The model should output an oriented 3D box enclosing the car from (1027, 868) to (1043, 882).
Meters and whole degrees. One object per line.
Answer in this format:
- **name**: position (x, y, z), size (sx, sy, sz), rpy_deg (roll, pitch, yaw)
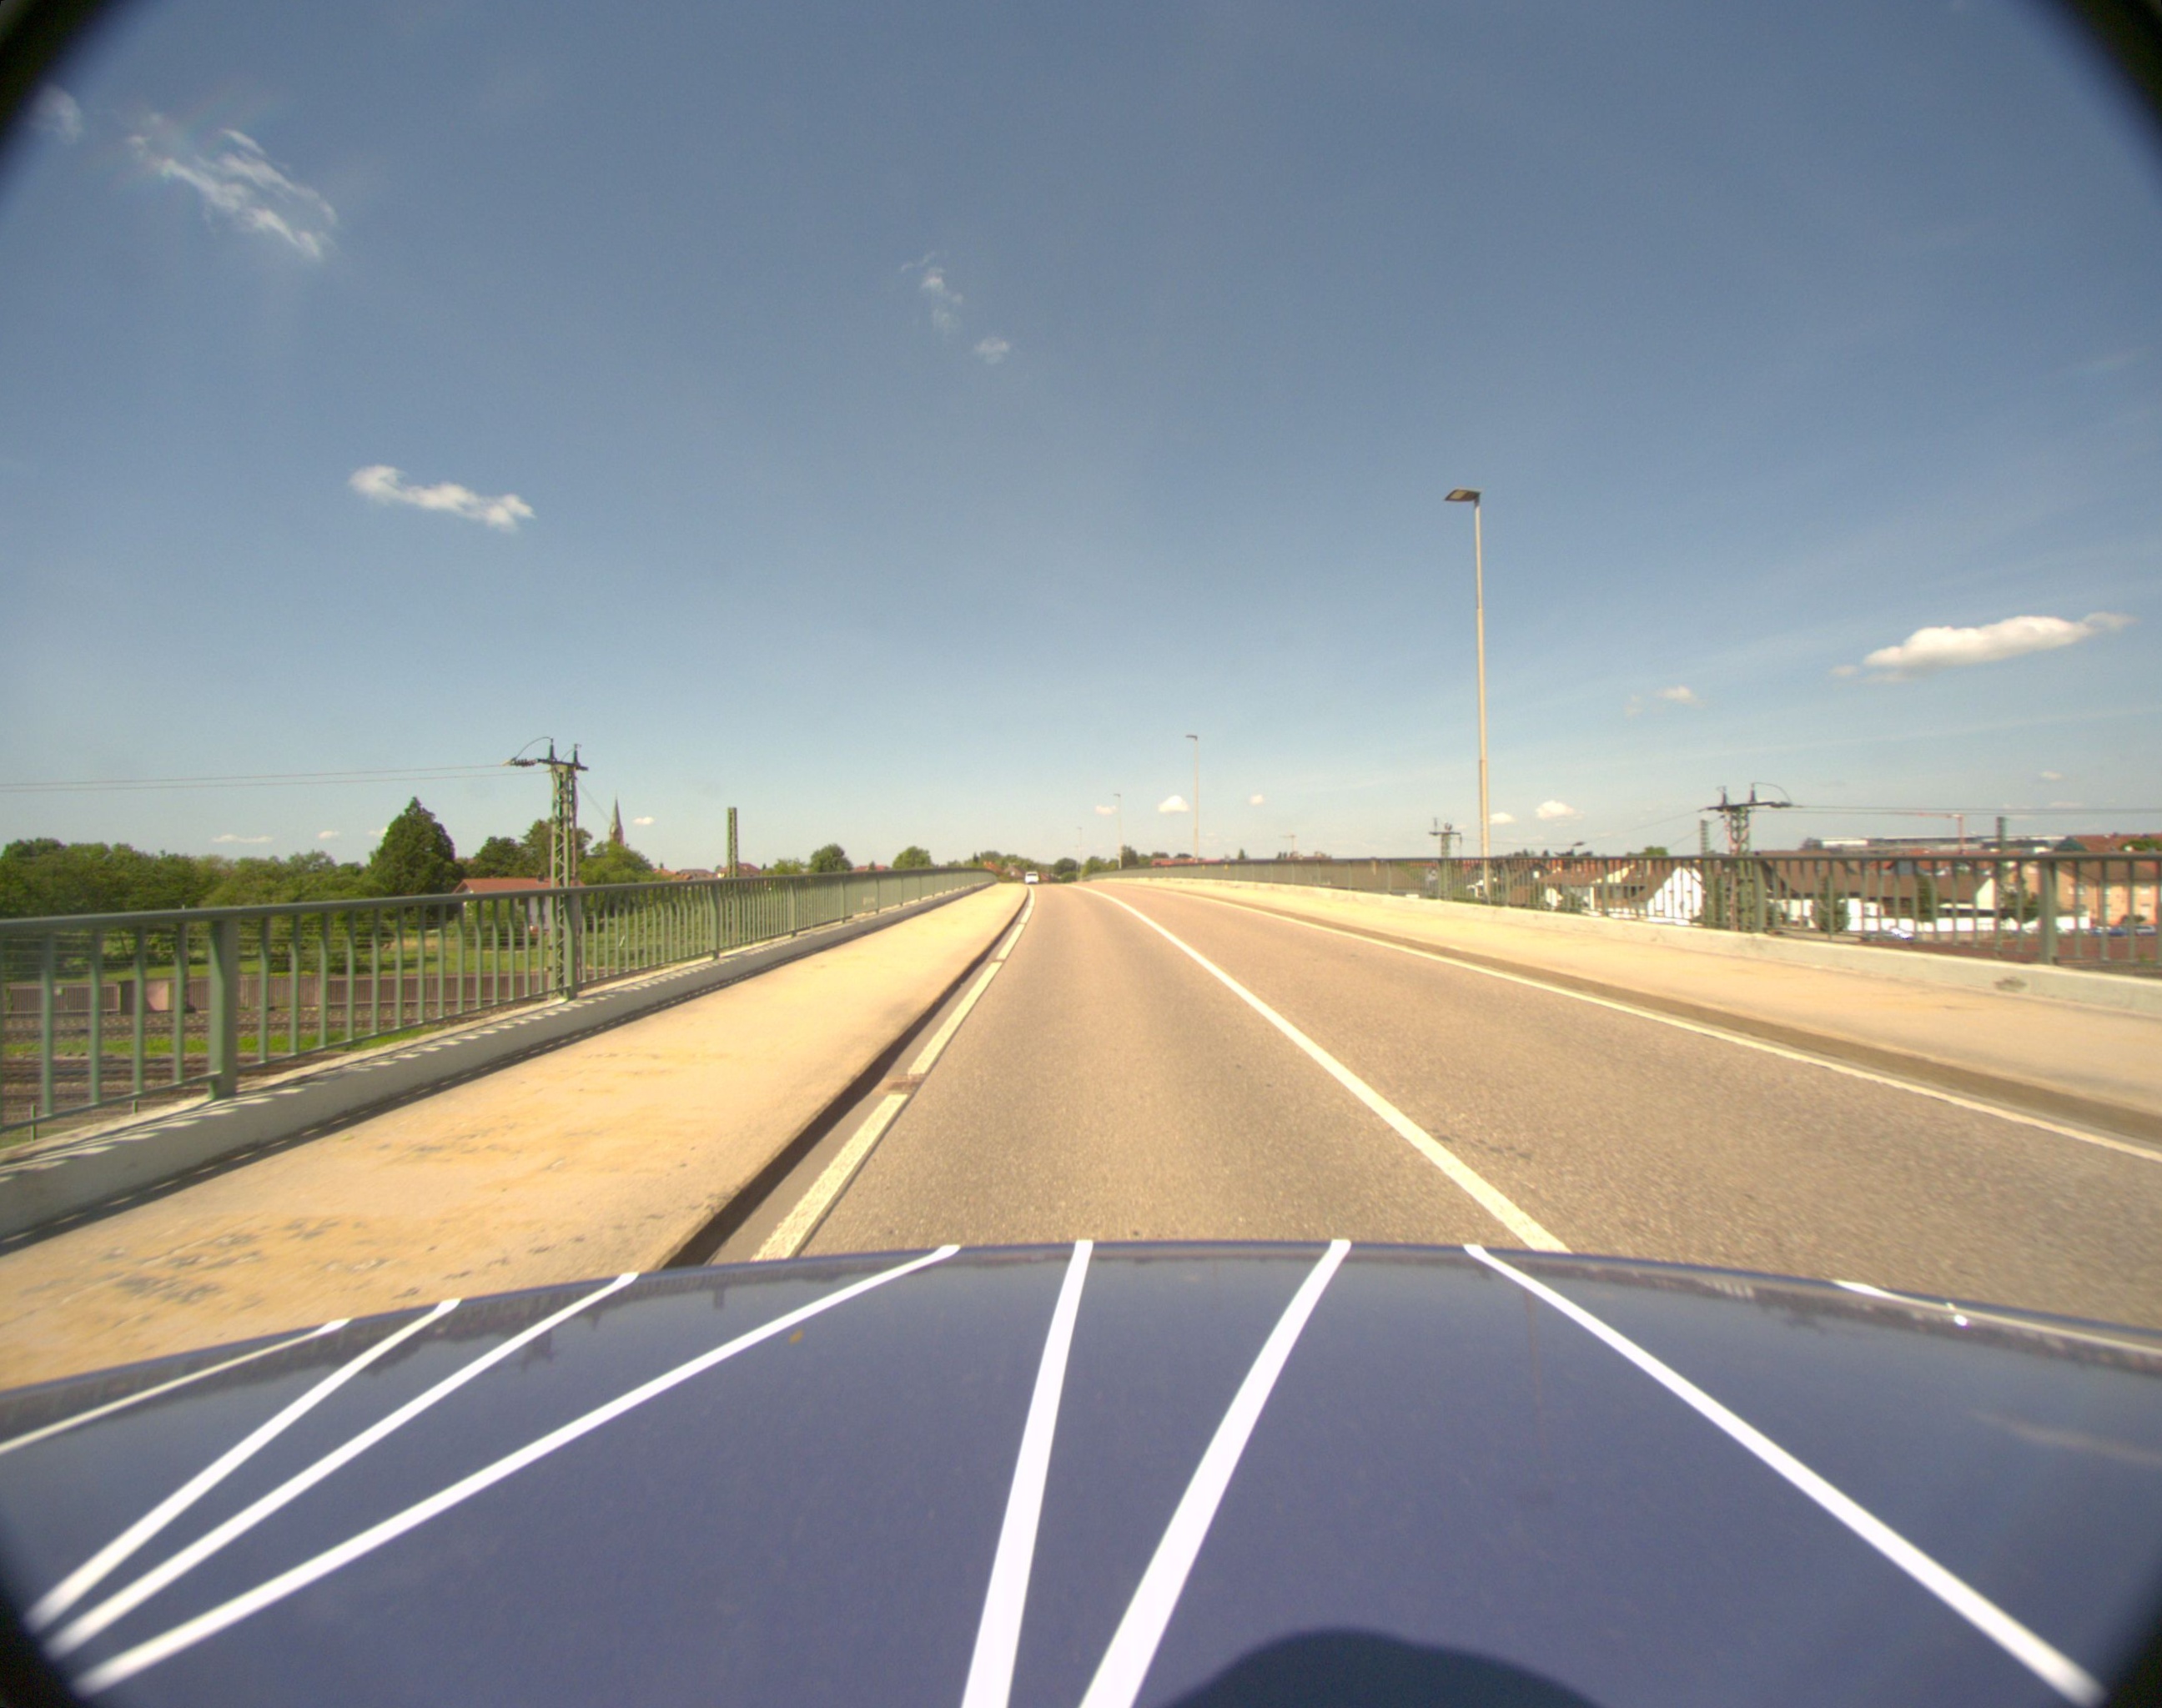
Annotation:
- **car**: position (-6.500, 2.964, 107.463), size (2.093, 1.750, 4.282), rpy_deg (-2, 0, -3)
